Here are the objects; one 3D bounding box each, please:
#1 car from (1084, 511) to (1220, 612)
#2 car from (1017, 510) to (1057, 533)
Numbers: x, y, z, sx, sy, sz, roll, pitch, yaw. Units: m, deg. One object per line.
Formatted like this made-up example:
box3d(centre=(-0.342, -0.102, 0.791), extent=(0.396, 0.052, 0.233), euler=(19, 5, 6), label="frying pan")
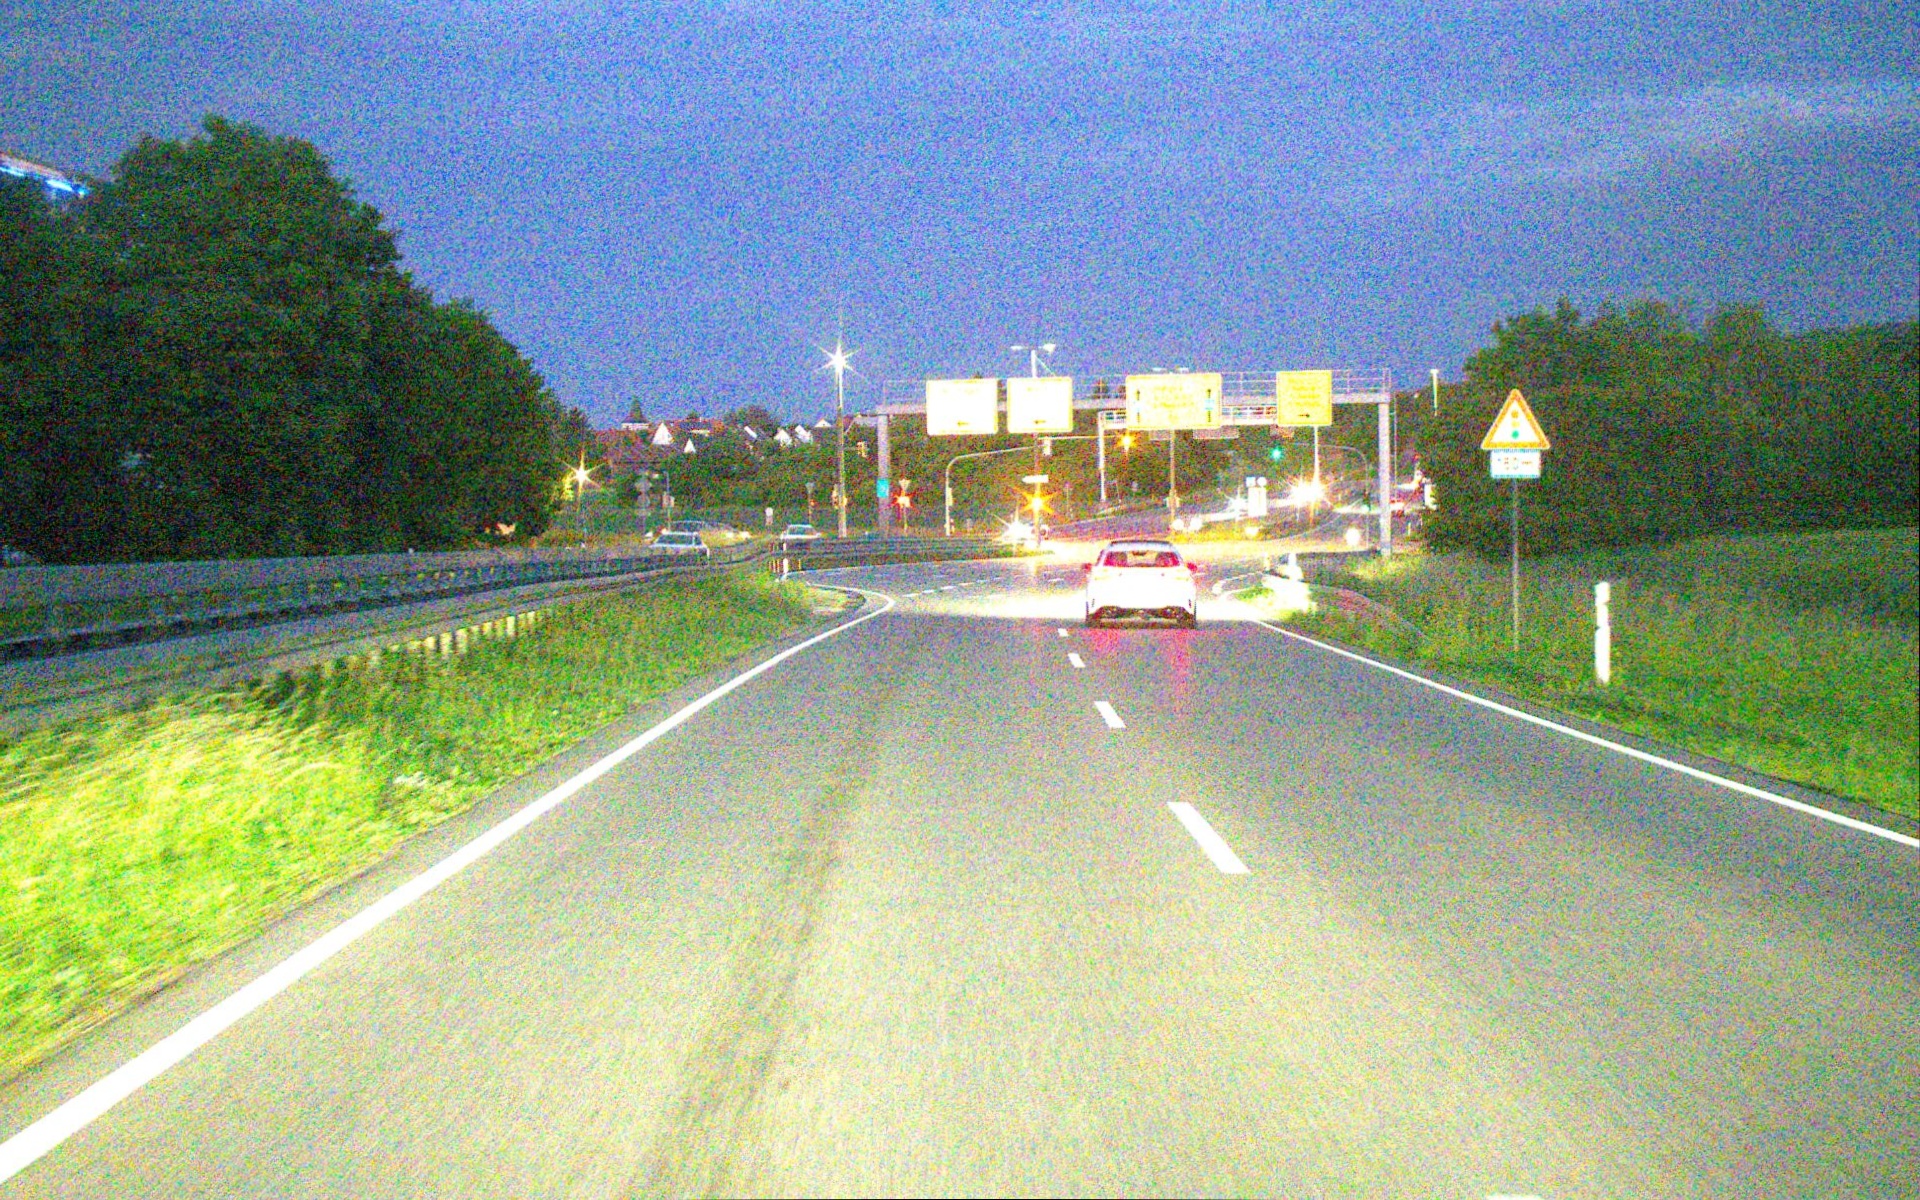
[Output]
box3d(centre=(3.154, -0.655, 57.121), extent=(2.007, 1.605, 3.845), euler=(0, 1, 0), label="car")
box3d(centre=(5.149, -5.244, 229.255), extent=(1.994, 1.420, 4.530), euler=(1, 2, 10), label="car")
